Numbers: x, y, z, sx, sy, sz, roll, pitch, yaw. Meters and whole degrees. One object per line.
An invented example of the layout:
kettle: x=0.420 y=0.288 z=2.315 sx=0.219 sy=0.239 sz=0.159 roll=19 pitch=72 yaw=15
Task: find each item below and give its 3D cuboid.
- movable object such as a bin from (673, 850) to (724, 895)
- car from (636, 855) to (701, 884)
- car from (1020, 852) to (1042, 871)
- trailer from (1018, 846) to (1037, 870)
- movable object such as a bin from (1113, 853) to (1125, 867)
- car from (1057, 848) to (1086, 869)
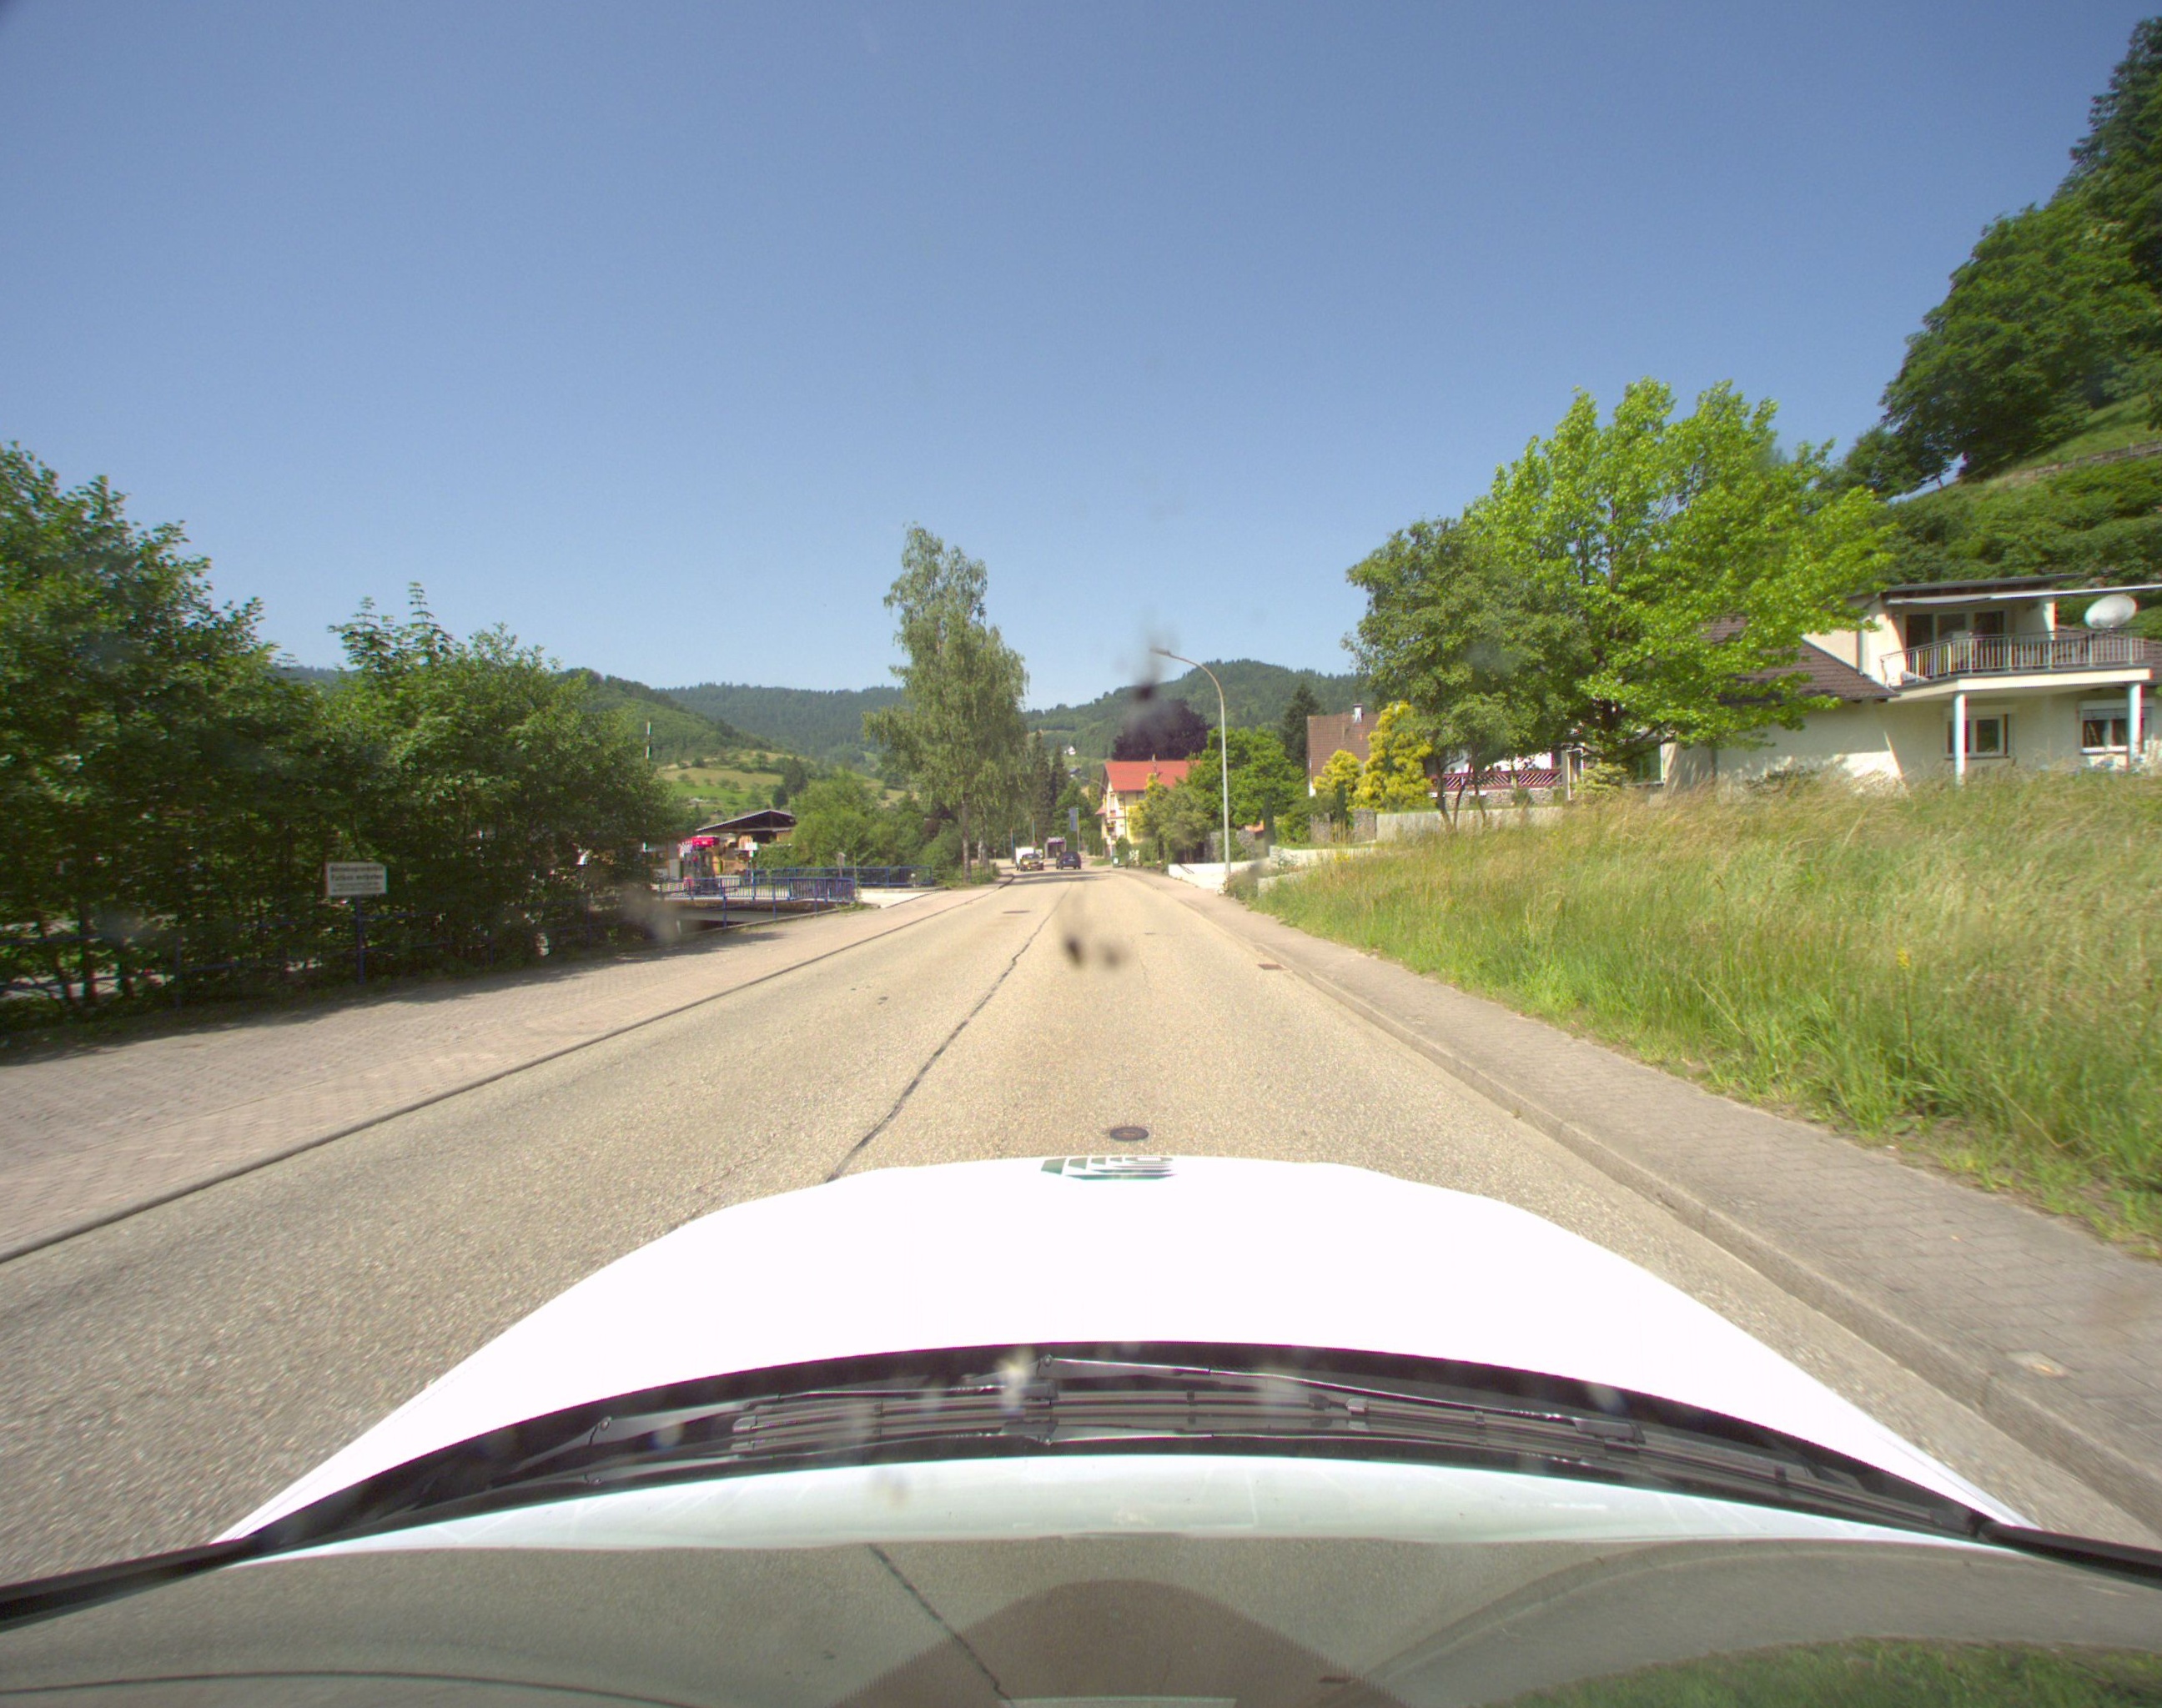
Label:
movable object such as a bin: x=-18.843 y=0.920 z=40.094 sx=2.099 sy=2.072 sz=1.143 roll=-3 pitch=0 yaw=29
car: x=-32.651 y=1.213 z=64.543 sx=1.974 sy=2.013 sz=4.026 roll=-3 pitch=0 yaw=40
car: x=-4.288 y=0.625 z=70.308 sx=1.809 sy=1.500 sz=4.144 roll=-3 pitch=0 yaw=-3
trailer: x=-4.940 y=0.380 z=75.283 sx=1.462 sy=2.077 sz=3.669 roll=-3 pitch=0 yaw=-1
movable object such as a bin: x=3.103 y=0.495 z=66.753 sx=0.808 sy=1.042 sz=0.577 roll=-3 pitch=1 yaw=-7
car: x=-0.838 y=0.417 z=71.078 sx=1.920 sy=1.698 sz=3.775 roll=-3 pitch=0 yaw=-10
